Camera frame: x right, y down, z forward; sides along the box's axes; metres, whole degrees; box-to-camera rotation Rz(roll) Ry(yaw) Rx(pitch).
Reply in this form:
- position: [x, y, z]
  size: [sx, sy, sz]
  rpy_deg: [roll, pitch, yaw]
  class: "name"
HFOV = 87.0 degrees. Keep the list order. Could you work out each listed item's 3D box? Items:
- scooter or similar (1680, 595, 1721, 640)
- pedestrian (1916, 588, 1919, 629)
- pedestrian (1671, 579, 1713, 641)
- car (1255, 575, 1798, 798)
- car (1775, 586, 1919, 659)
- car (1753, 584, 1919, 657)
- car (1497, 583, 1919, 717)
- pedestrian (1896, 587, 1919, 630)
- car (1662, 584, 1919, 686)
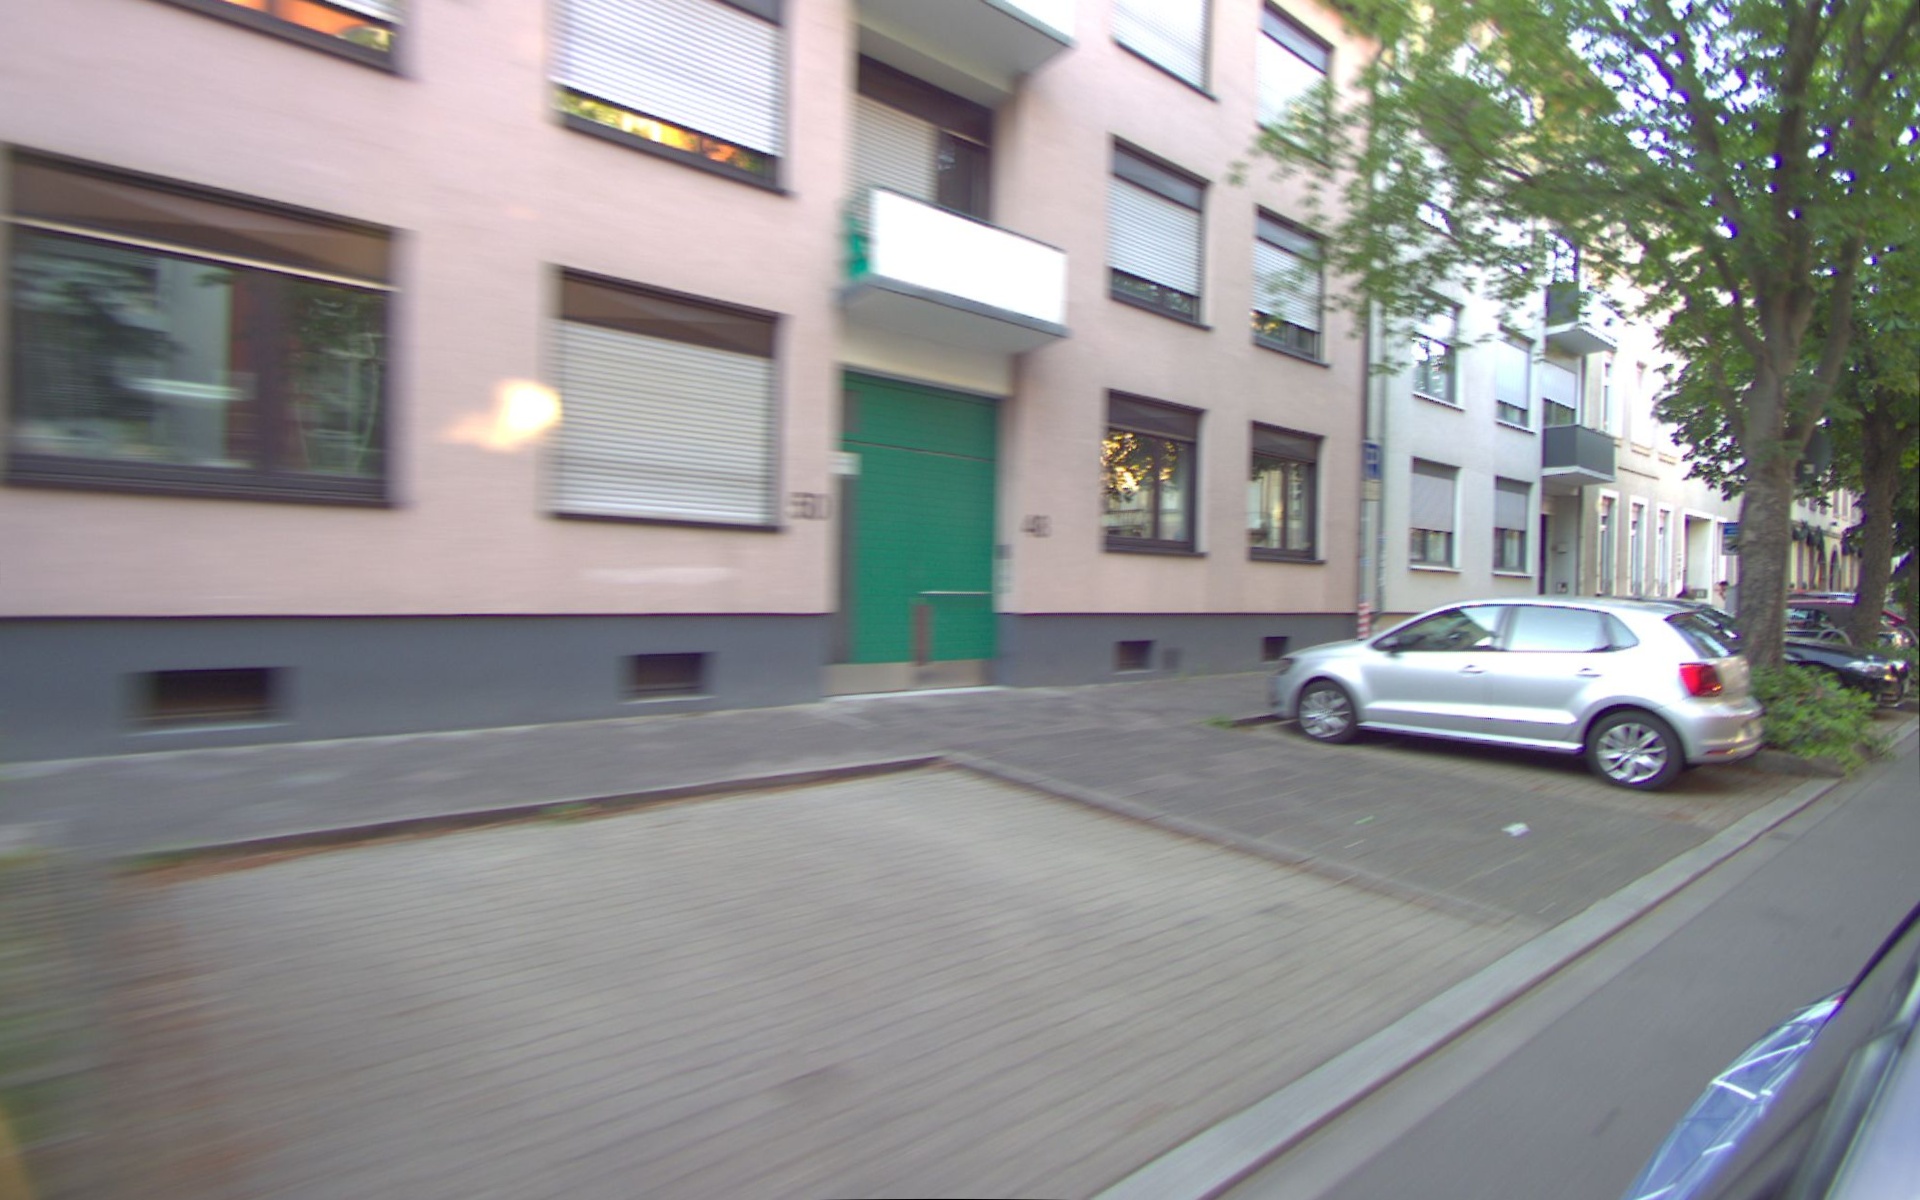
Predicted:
- position: [19.547, 0.456, 26.713]
  size: [0.816, 1.167, 0.656]
  rpy_deg: [1, 1, -40]
  class: "scooter or similar"
- position: [41.658, 0.366, 43.554]
  size: [0.612, 1.760, 0.616]
  rpy_deg: [2, 1, -41]
  class: "pedestrian"
- position: [18.947, 0.256, 26.194]
  size: [0.816, 1.555, 0.656]
  rpy_deg: [1, 1, -40]
  class: "pedestrian"
- position: [4.893, 0.579, 9.116]
  size: [1.817, 1.457, 3.881]
  rpy_deg: [1, 2, -43]
  class: "car"
- position: [20.817, 0.498, 22.862]
  size: [1.867, 1.470, 3.489]
  rpy_deg: [1, 2, -42]
  class: "car"
- position: [22.839, 0.485, 25.280]
  size: [1.865, 1.676, 4.437]
  rpy_deg: [1, 1, -39]
  class: "car"
- position: [10.559, 0.571, 14.401]
  size: [1.999, 1.439, 4.722]
  rpy_deg: [1, 2, -40]
  class: "car"
- position: [39.497, 0.355, 41.973]
  size: [0.774, 1.760, 0.676]
  rpy_deg: [4, 1, 34]
  class: "pedestrian"
- position: [14.428, 0.530, 17.426]
  size: [1.867, 1.470, 3.489]
  rpy_deg: [1, 2, -42]
  class: "car"
